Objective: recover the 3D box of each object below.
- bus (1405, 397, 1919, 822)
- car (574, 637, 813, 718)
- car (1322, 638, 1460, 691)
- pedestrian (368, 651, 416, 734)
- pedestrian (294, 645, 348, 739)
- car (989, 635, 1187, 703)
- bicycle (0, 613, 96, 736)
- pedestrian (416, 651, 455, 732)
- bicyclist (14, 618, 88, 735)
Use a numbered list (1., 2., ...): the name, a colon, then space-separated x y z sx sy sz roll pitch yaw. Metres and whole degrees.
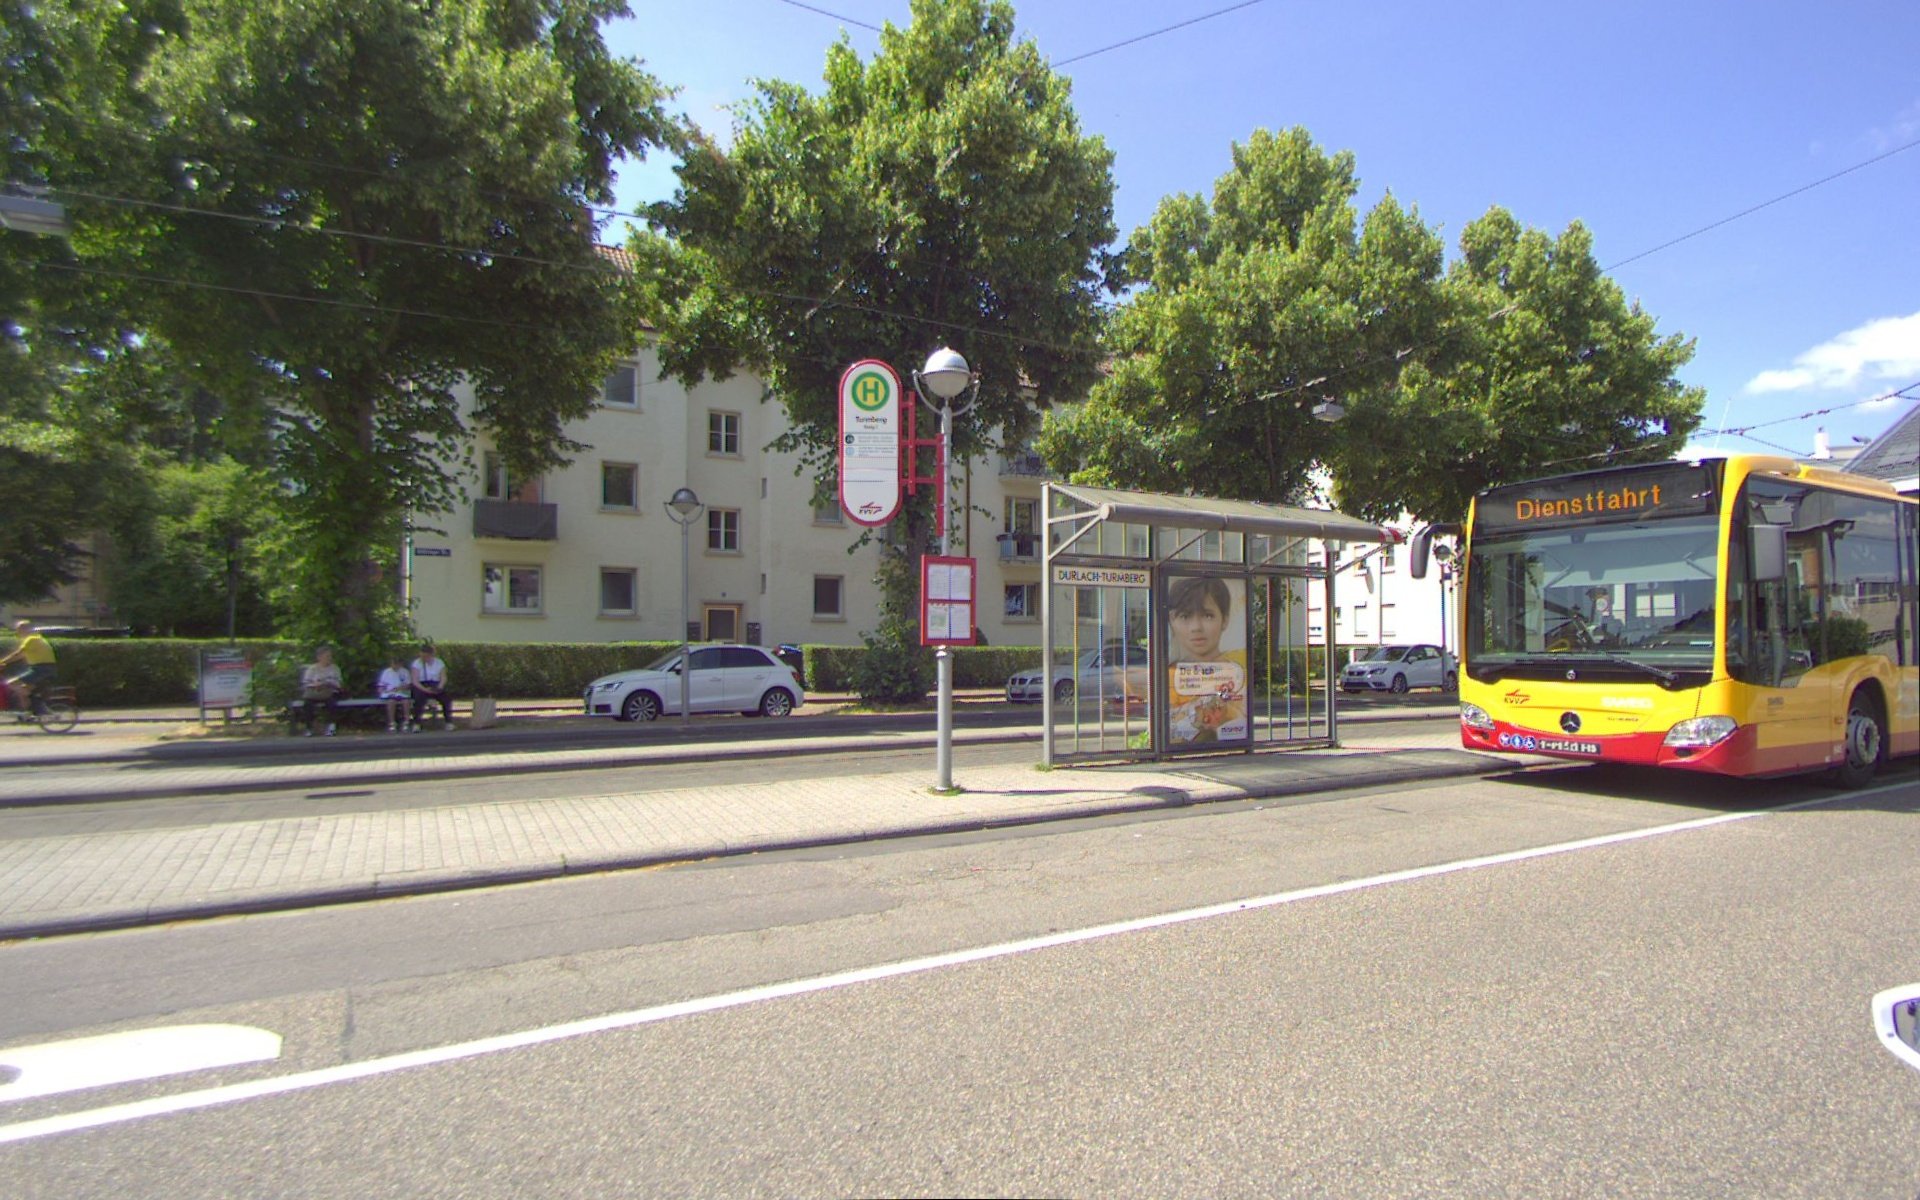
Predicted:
1. bus: 10.465 0.251 12.088 11.977 3.291 2.893 2 -1 -31
2. car: -4.843 1.406 18.394 3.953 1.290 1.561 3 -1 -30
3. car: 12.297 1.837 28.593 3.958 1.336 1.704 3 -1 -33
4. pedestrian: -8.323 1.345 14.737 0.533 1.153 0.613 3 -1 -27
5. pedestrian: -9.058 1.298 14.263 0.533 1.267 0.613 3 -1 -27
6. car: 2.970 1.588 22.968 4.350 1.375 1.686 3 -1 -30
7. bicycle: -14.544 1.137 15.507 1.650 1.837 0.629 3 -1 -30
8. pedestrian: -7.844 1.362 15.029 0.451 1.153 0.508 3 -1 -27
9. bicyclist: -14.197 1.177 15.706 0.665 1.766 0.632 3 -1 -30
